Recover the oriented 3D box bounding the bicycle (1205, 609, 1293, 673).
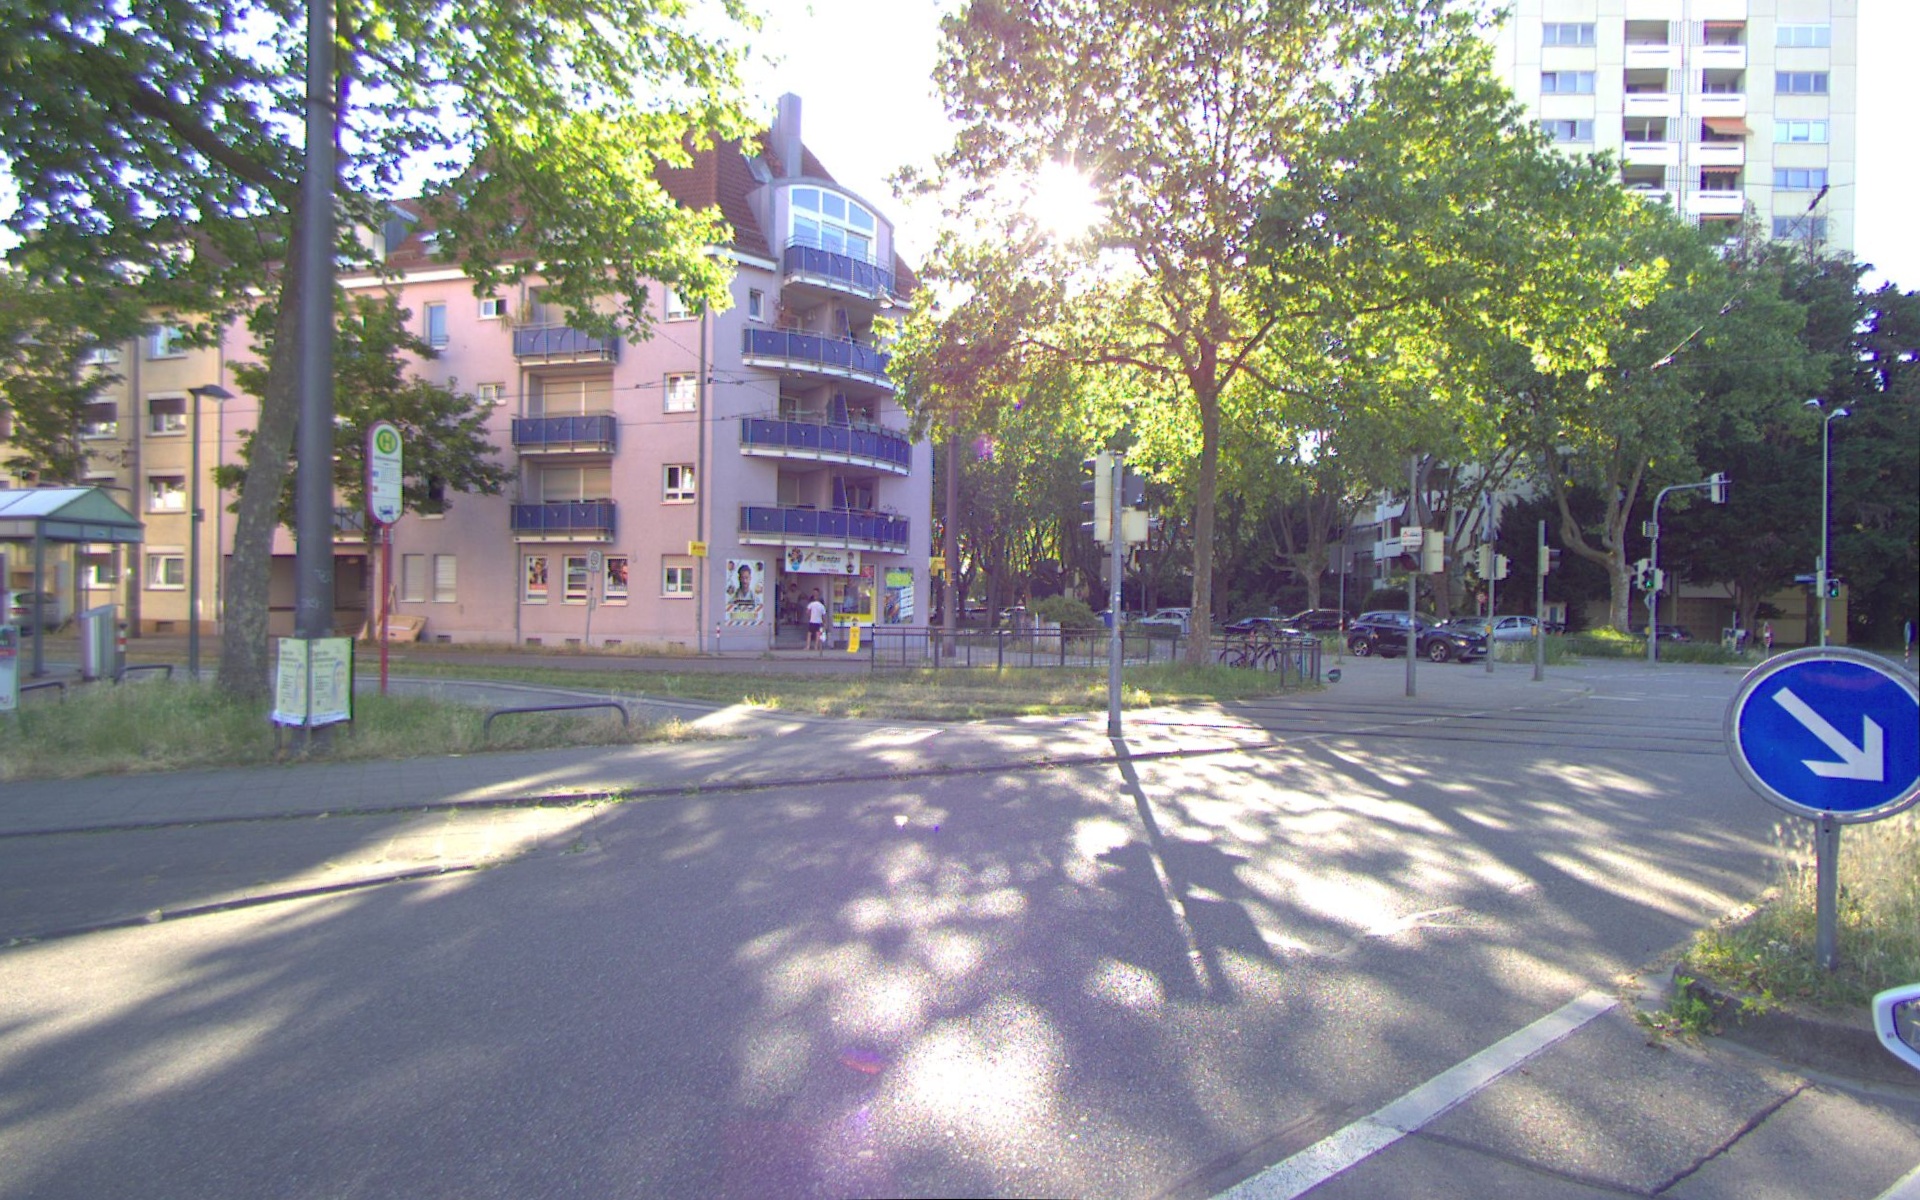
[{"bbox_3d":[6.393,0.886,22.240,1.811,1.324,0.382,2,0,34],"label":"bicycle"}]

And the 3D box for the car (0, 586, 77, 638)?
[{"bbox_3d":[-33.486,0.380,35.211,4.029,1.728,1.940,2,0,16],"label":"car"}]

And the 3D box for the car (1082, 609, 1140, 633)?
[{"bbox_3d":[11.074,1.510,73.893,3.921,1.617,1.738,2,0,0],"label":"car"}]

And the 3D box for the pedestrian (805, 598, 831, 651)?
[{"bbox_3d":[-4.609,0.790,32.604,0.610,1.689,0.549,2,0,38],"label":"pedestrian"}]

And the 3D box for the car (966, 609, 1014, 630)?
[{"bbox_3d":[2.598,1.654,86.361,3.919,1.617,1.739,2,0,9],"label":"car"}]

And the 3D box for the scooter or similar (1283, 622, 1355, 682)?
[{"bbox_3d":[7.916,1.131,22.199,1.412,1.255,0.414,2,0,9],"label":"scooter or similar"}]

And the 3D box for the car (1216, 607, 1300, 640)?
[{"bbox_3d":[15.904,1.230,53.677,3.921,1.617,1.738,2,0,0],"label":"car"}]

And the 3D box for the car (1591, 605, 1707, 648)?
[{"bbox_3d":[31.618,1.182,46.198,1.971,1.798,3.979,2,0,-22],"label":"car"}]

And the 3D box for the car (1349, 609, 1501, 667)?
[{"bbox_3d":[14.454,1.144,31.410,1.722,1.617,3.959,2,0,-36],"label":"car"}]

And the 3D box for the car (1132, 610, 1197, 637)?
[{"bbox_3d":[13.393,1.540,65.979,3.921,1.617,1.738,2,0,0],"label":"car"}]

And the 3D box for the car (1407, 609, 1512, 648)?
[{"bbox_3d":[22.833,1.289,46.029,3.921,1.617,1.738,2,0,0],"label":"car"}]

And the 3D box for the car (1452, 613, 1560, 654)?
[{"bbox_3d":[23.871,1.459,43.978,3.732,1.617,1.738,2,0,0],"label":"car"}]
